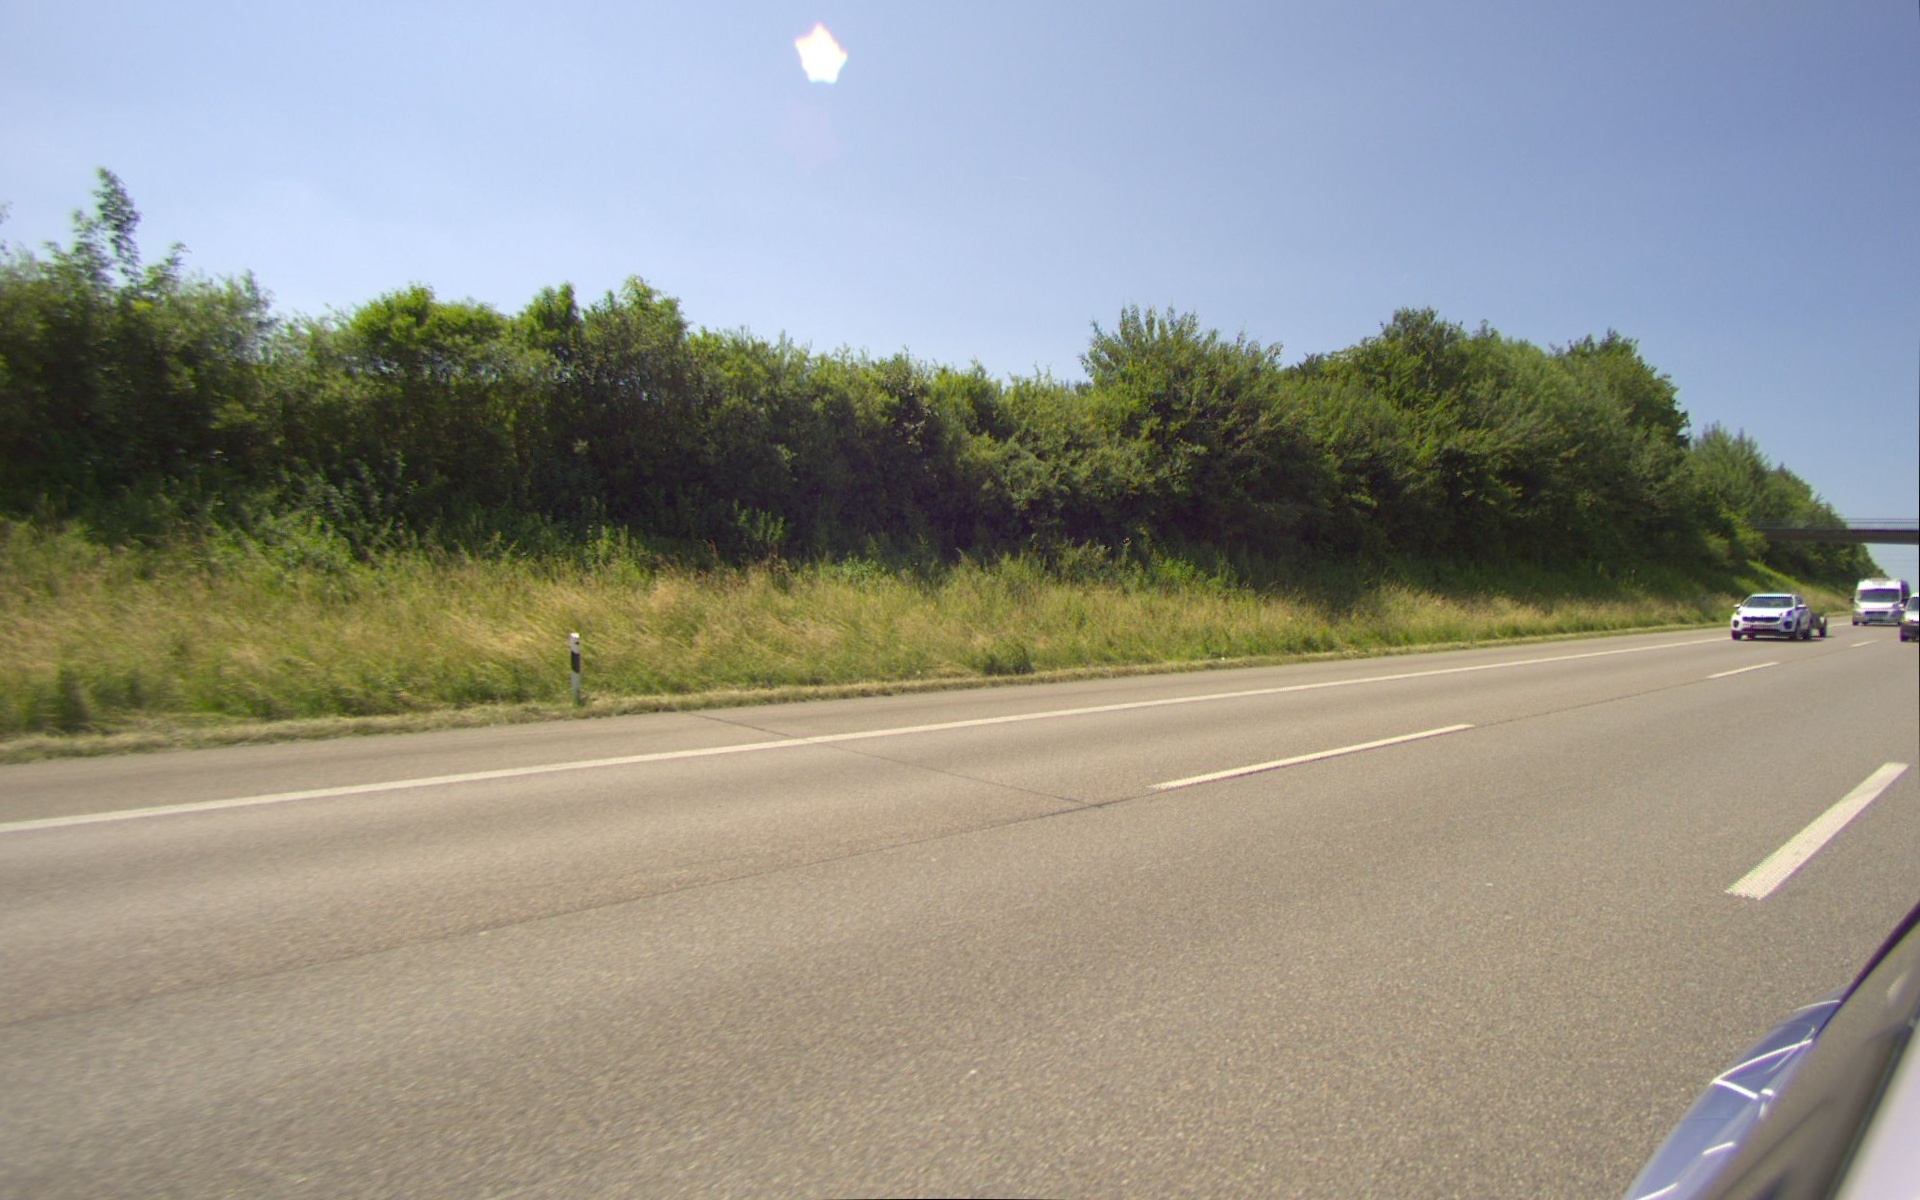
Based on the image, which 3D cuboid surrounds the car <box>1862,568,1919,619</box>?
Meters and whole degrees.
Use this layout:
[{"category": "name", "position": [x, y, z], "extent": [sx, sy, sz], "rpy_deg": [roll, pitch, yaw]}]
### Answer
[{"category": "car", "position": [50.701, -0.285, 55.051], "extent": [6.513, 2.609, 2.090], "rpy_deg": [1, -1, -45]}]

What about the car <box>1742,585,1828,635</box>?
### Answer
[{"category": "car", "position": [29.580, 0.359, 36.257], "extent": [4.327, 1.672, 1.783], "rpy_deg": [1, -1, -42]}]

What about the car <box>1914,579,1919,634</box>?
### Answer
[{"category": "car", "position": [34.840, 0.228, 35.520], "extent": [4.721, 1.853, 1.747], "rpy_deg": [0, 0, -44]}]

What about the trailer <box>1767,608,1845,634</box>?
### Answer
[{"category": "trailer", "position": [32.762, 0.780, 39.152], "extent": [4.245, 0.920, 1.756], "rpy_deg": [0, 0, -42]}]
